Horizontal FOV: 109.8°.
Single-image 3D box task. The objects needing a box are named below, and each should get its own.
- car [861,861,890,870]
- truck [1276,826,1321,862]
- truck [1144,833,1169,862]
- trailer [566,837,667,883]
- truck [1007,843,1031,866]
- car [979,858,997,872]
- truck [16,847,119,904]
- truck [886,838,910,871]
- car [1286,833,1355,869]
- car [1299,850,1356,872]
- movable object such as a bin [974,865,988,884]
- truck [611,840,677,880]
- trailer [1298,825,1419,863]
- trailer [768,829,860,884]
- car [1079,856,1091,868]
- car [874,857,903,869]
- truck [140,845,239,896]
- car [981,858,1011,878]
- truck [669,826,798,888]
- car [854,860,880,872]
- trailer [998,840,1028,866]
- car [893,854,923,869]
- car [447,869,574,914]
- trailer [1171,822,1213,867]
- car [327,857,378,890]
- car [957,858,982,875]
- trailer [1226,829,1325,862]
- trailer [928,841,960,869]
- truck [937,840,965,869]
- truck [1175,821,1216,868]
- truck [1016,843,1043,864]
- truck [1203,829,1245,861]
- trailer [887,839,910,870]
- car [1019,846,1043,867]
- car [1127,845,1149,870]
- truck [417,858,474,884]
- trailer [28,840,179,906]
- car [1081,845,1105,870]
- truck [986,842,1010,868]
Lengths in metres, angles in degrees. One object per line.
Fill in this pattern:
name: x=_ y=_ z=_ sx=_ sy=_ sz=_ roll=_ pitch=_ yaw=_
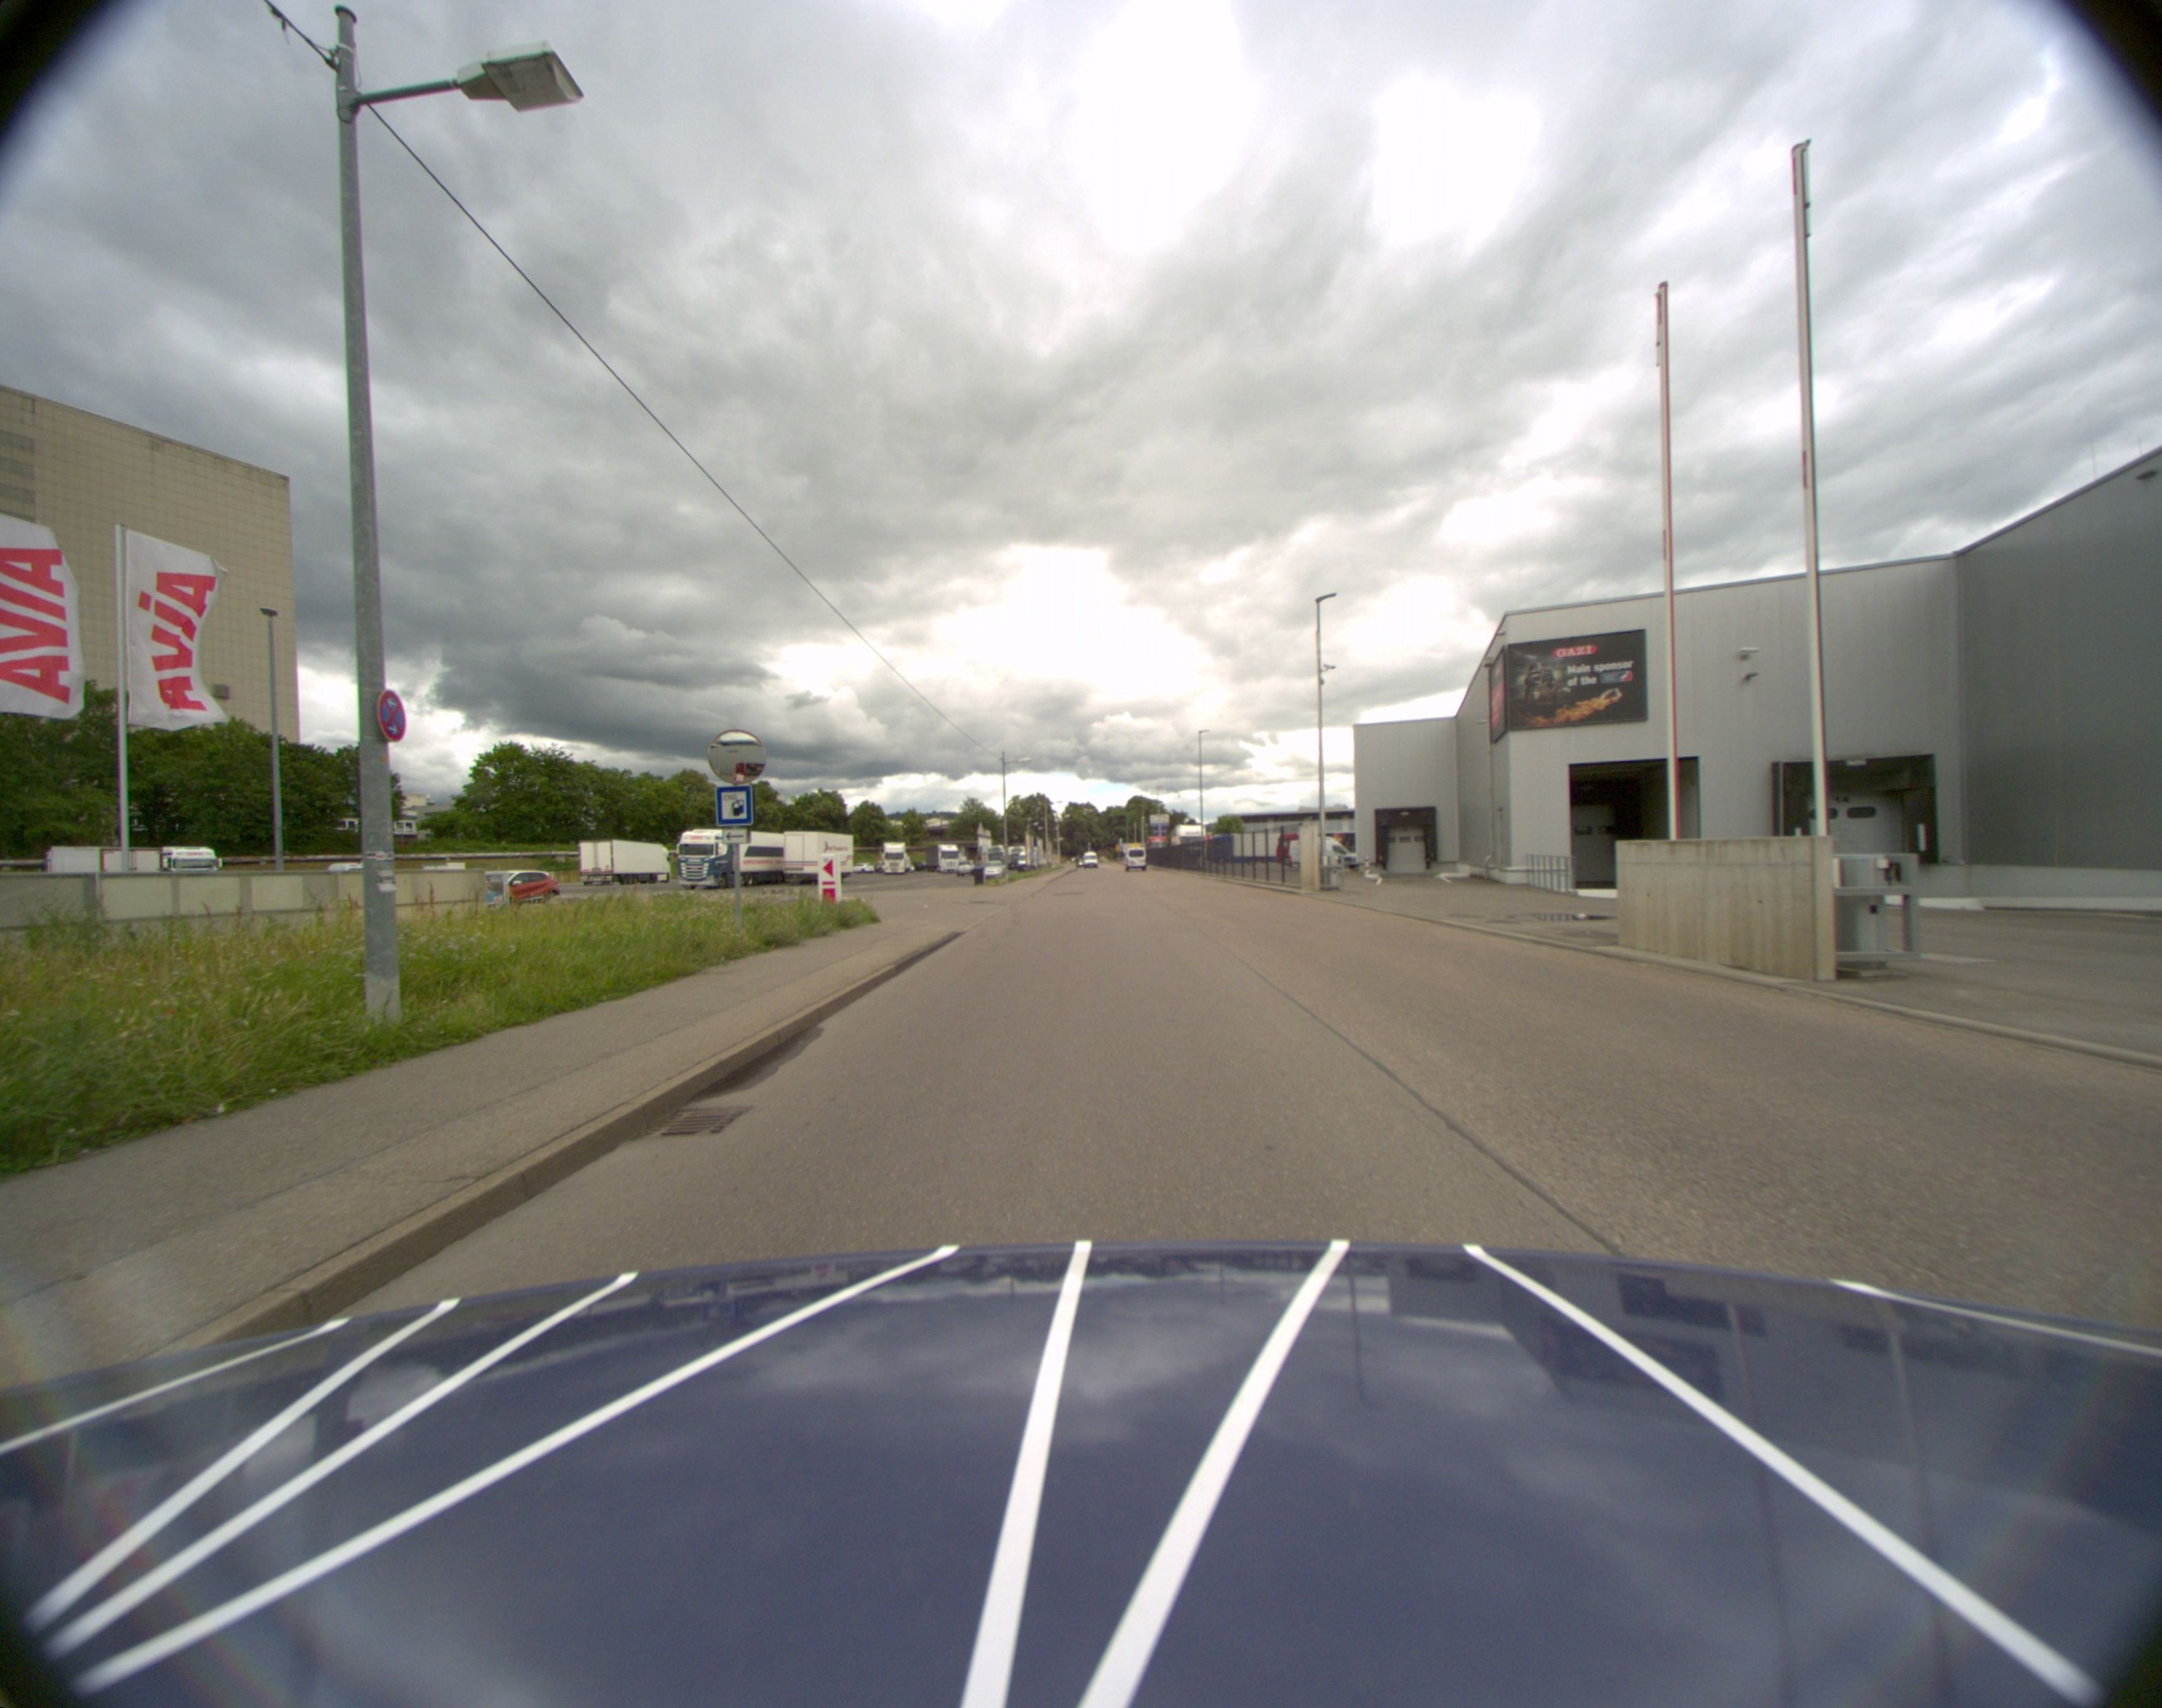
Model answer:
car: x=-35.027 y=1.924 z=129.409 sx=4.707 sy=1.431 sz=2.004 roll=-2 pitch=0 yaw=33
truck: x=26.312 y=-1.166 z=91.853 sx=4.870 sy=4.180 sz=3.053 roll=0 pitch=1 yaw=24
truck: x=10.385 y=-0.861 z=105.335 sx=3.021 sy=3.827 sz=5.670 roll=0 pitch=0 yaw=2
trailer: x=-43.173 y=0.541 z=71.378 sx=3.643 sy=3.887 sz=13.723 roll=-1 pitch=0 yaw=-12
truck: x=-10.004 y=0.041 z=122.388 sx=2.876 sy=3.609 sz=6.749 roll=-1 pitch=0 yaw=-14
car: x=-11.293 y=1.317 z=92.234 sx=1.497 sy=1.486 sz=4.053 roll=-2 pitch=0 yaw=3
truck: x=-77.979 y=1.611 z=58.459 sx=7.237 sy=4.148 sz=3.718 roll=-1 pitch=0 yaw=29
truck: x=-23.610 y=0.074 z=98.364 sx=2.875 sy=4.071 sz=6.749 roll=-1 pitch=0 yaw=-12
car: x=20.593 y=-0.247 z=65.325 sx=5.423 sy=2.714 sz=2.244 roll=-3 pitch=0 yaw=20
car: x=19.625 y=0.551 z=60.465 sx=4.072 sy=1.567 sz=1.947 roll=-3 pitch=-1 yaw=23
movable object such as a bin: x=-5.709 y=1.170 z=43.434 sx=0.716 sy=1.075 sz=0.662 roll=-2 pitch=0 yaw=-5
truck: x=-44.563 y=0.588 z=77.787 sx=3.632 sy=3.856 sz=7.249 roll=-1 pitch=0 yaw=-11
trailer: x=32.446 y=-1.138 z=89.180 sx=13.158 sy=4.189 sz=3.053 roll=0 pitch=1 yaw=23
trailer: x=-20.646 y=0.171 z=59.597 sx=2.964 sy=3.944 sz=10.408 roll=0 pitch=0 yaw=4
car: x=0.715 y=1.375 z=131.619 sx=1.712 sy=2.002 sz=3.888 roll=-1 pitch=0 yaw=-4
car: x=-33.204 y=1.567 z=131.049 sx=4.707 sy=1.881 sz=2.004 roll=-2 pitch=0 yaw=33
truck: x=-71.795 y=1.322 z=61.176 sx=7.237 sy=3.941 sz=3.718 roll=-1 pitch=0 yaw=29
car: x=-6.750 y=1.072 z=60.683 sx=1.778 sy=1.455 sz=4.560 roll=-2 pitch=0 yaw=1
truck: x=-24.796 y=0.163 z=55.408 sx=3.082 sy=3.944 sz=13.069 roll=0 pitch=0 yaw=1
car: x=-35.719 y=1.966 z=126.675 sx=3.989 sy=1.862 sz=2.004 roll=-1 pitch=0 yaw=31
trailer: x=-11.611 y=-0.145 z=128.562 sx=2.841 sy=4.071 sz=13.379 roll=-1 pitch=0 yaw=-15
car: x=-30.997 y=1.346 z=136.172 sx=4.907 sy=2.434 sz=2.375 roll=-2 pitch=0 yaw=33
car: x=-22.368 y=1.425 z=30.011 sx=1.769 sy=1.562 sz=4.215 roll=0 pitch=0 yaw=1
trailer: x=10.976 y=-0.893 z=76.264 sx=3.366 sy=4.136 sz=13.853 roll=0 pitch=0 yaw=5
car: x=-66.458 y=1.782 z=69.315 sx=5.073 sy=2.820 sz=2.112 roll=-1 pitch=0 yaw=32
car: x=-11.498 y=1.227 z=78.537 sx=1.769 sy=1.562 sz=4.000 roll=-4 pitch=0 yaw=1
trailer: x=24.957 y=-1.128 z=97.773 sx=12.020 sy=4.109 sz=3.053 roll=0 pitch=1 yaw=20
trailer: x=-21.063 y=0.137 z=116.023 sx=2.842 sy=4.071 sz=13.375 roll=-1 pitch=0 yaw=-19
truck: x=-18.755 y=0.113 z=109.162 sx=2.877 sy=4.071 sz=6.746 roll=-1 pitch=0 yaw=-18
truck: x=10.364 y=-0.847 z=69.290 sx=3.366 sy=4.136 sz=5.629 roll=0 pitch=0 yaw=5
truck: x=-9.487 y=-0.069 z=139.422 sx=2.832 sy=3.689 sz=9.091 roll=-2 pitch=0 yaw=-17
truck: x=18.639 y=-1.182 z=99.283 sx=4.877 sy=4.109 sz=3.048 roll=0 pitch=1 yaw=2
trailer: x=-24.951 y=0.095 z=104.346 sx=2.841 sy=4.071 sz=13.381 roll=-1 pitch=0 yaw=-13
car: x=-6.047 y=0.332 z=92.023 sx=2.091 sy=2.401 sz=6.084 roll=-2 pitch=0 yaw=3
car: x=5.916 y=0.313 z=78.445 sx=1.998 sy=2.402 sz=5.258 roll=-3 pitch=0 yaw=6
truck: x=-64.678 y=1.719 z=77.311 sx=5.942 sy=2.476 sz=2.285 roll=0 pitch=0 yaw=27
trailer: x=-69.779 y=1.396 z=54.020 sx=18.452 sy=4.148 sz=3.649 roll=-1 pitch=0 yaw=29
car: x=1.810 y=0.541 z=118.369 sx=3.339 sy=3.586 sz=8.668 roll=-1 pitch=0 yaw=-2
truck: x=-12.921 y=0.142 z=118.290 sx=2.876 sy=3.990 sz=6.749 roll=-1 pitch=0 yaw=-14
